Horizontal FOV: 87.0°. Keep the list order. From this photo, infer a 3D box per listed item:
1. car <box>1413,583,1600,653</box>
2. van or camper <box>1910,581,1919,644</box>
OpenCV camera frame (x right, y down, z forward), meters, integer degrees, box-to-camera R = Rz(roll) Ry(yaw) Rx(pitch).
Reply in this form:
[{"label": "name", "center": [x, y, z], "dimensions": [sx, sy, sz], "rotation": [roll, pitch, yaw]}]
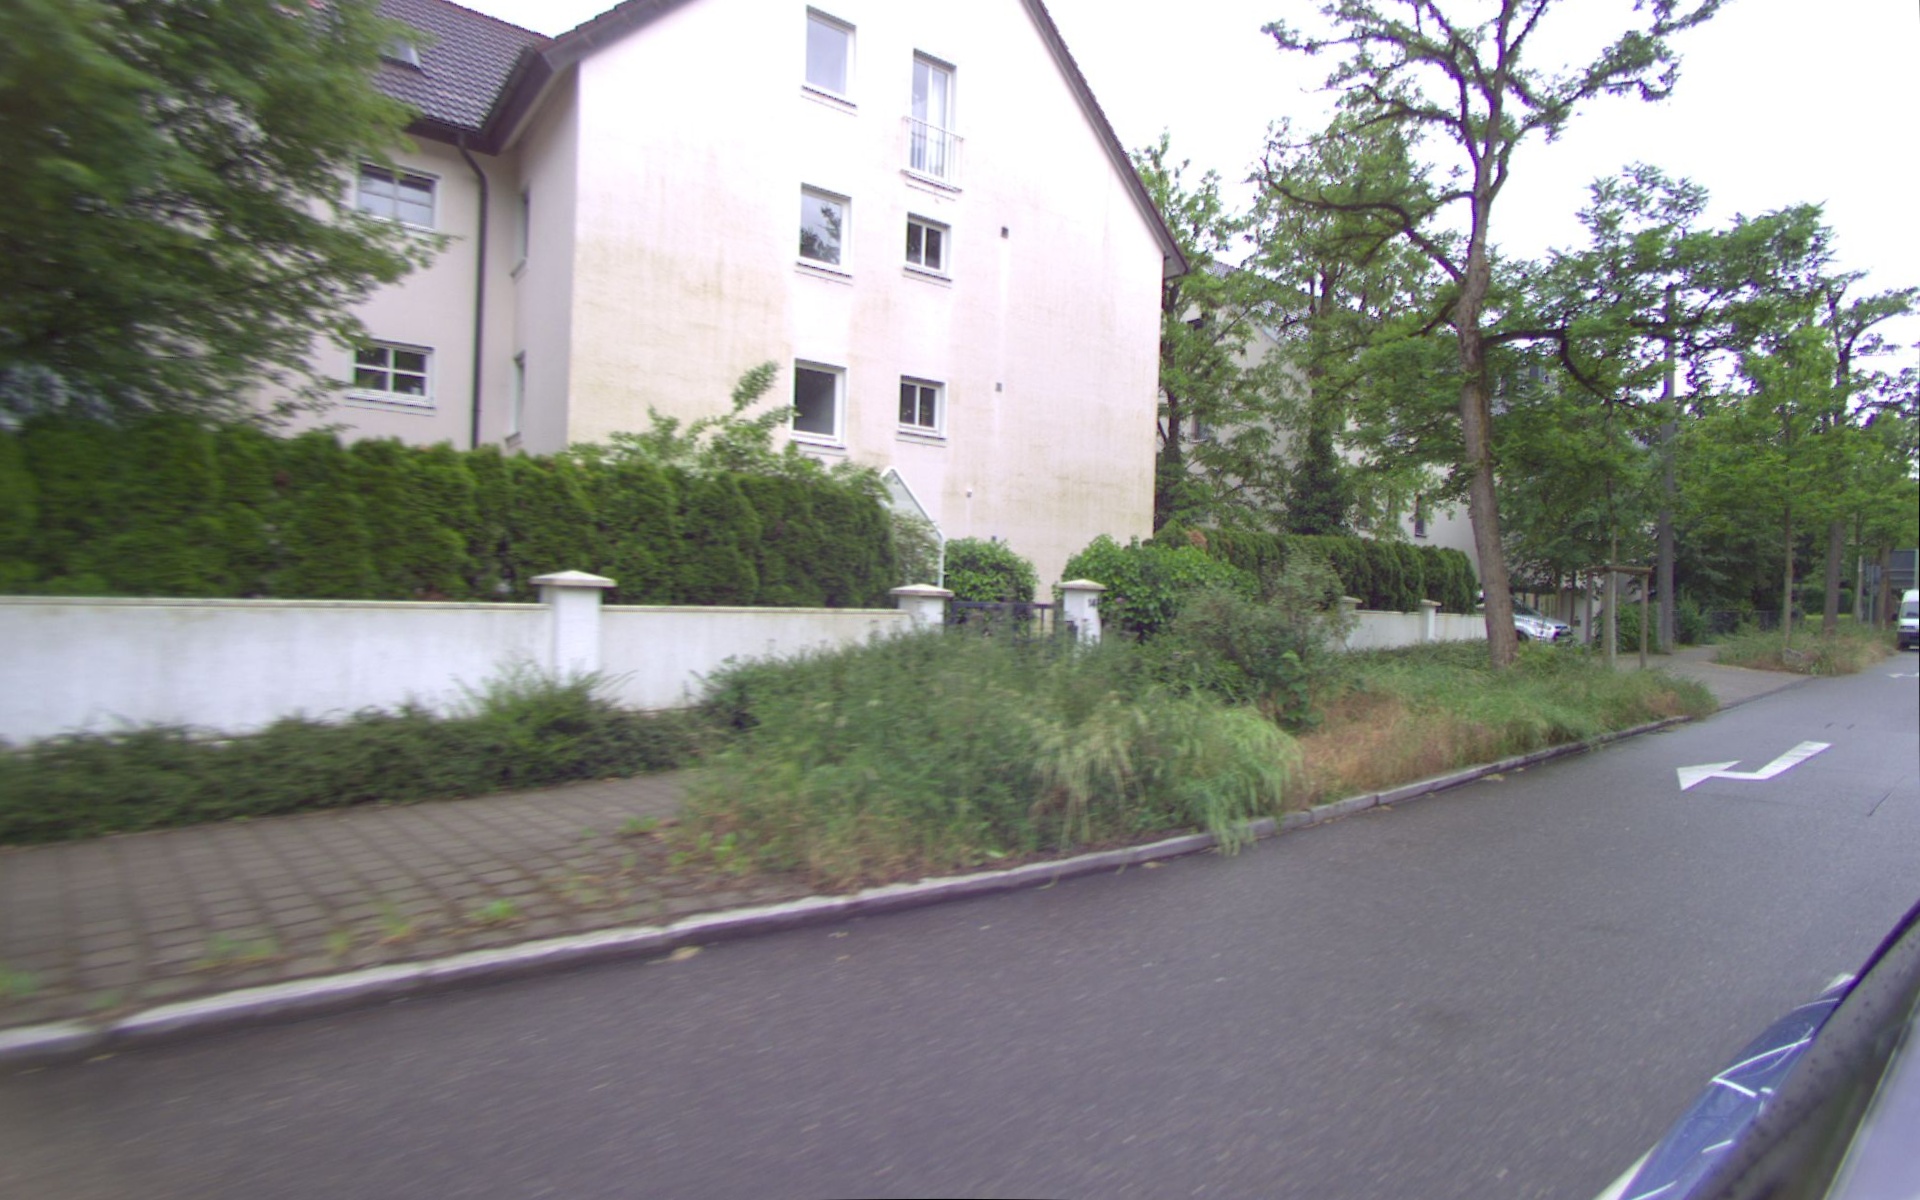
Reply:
[{"label": "car", "center": [15.368, 0.453, 28.677], "dimensions": [1.837, 1.840, 4.321], "rotation": [1, 0, -32]}, {"label": "van or camper", "center": [40.507, 0.504, 41.446], "dimensions": [5.544, 2.511, 2.038], "rotation": [0, -1, -44]}]
